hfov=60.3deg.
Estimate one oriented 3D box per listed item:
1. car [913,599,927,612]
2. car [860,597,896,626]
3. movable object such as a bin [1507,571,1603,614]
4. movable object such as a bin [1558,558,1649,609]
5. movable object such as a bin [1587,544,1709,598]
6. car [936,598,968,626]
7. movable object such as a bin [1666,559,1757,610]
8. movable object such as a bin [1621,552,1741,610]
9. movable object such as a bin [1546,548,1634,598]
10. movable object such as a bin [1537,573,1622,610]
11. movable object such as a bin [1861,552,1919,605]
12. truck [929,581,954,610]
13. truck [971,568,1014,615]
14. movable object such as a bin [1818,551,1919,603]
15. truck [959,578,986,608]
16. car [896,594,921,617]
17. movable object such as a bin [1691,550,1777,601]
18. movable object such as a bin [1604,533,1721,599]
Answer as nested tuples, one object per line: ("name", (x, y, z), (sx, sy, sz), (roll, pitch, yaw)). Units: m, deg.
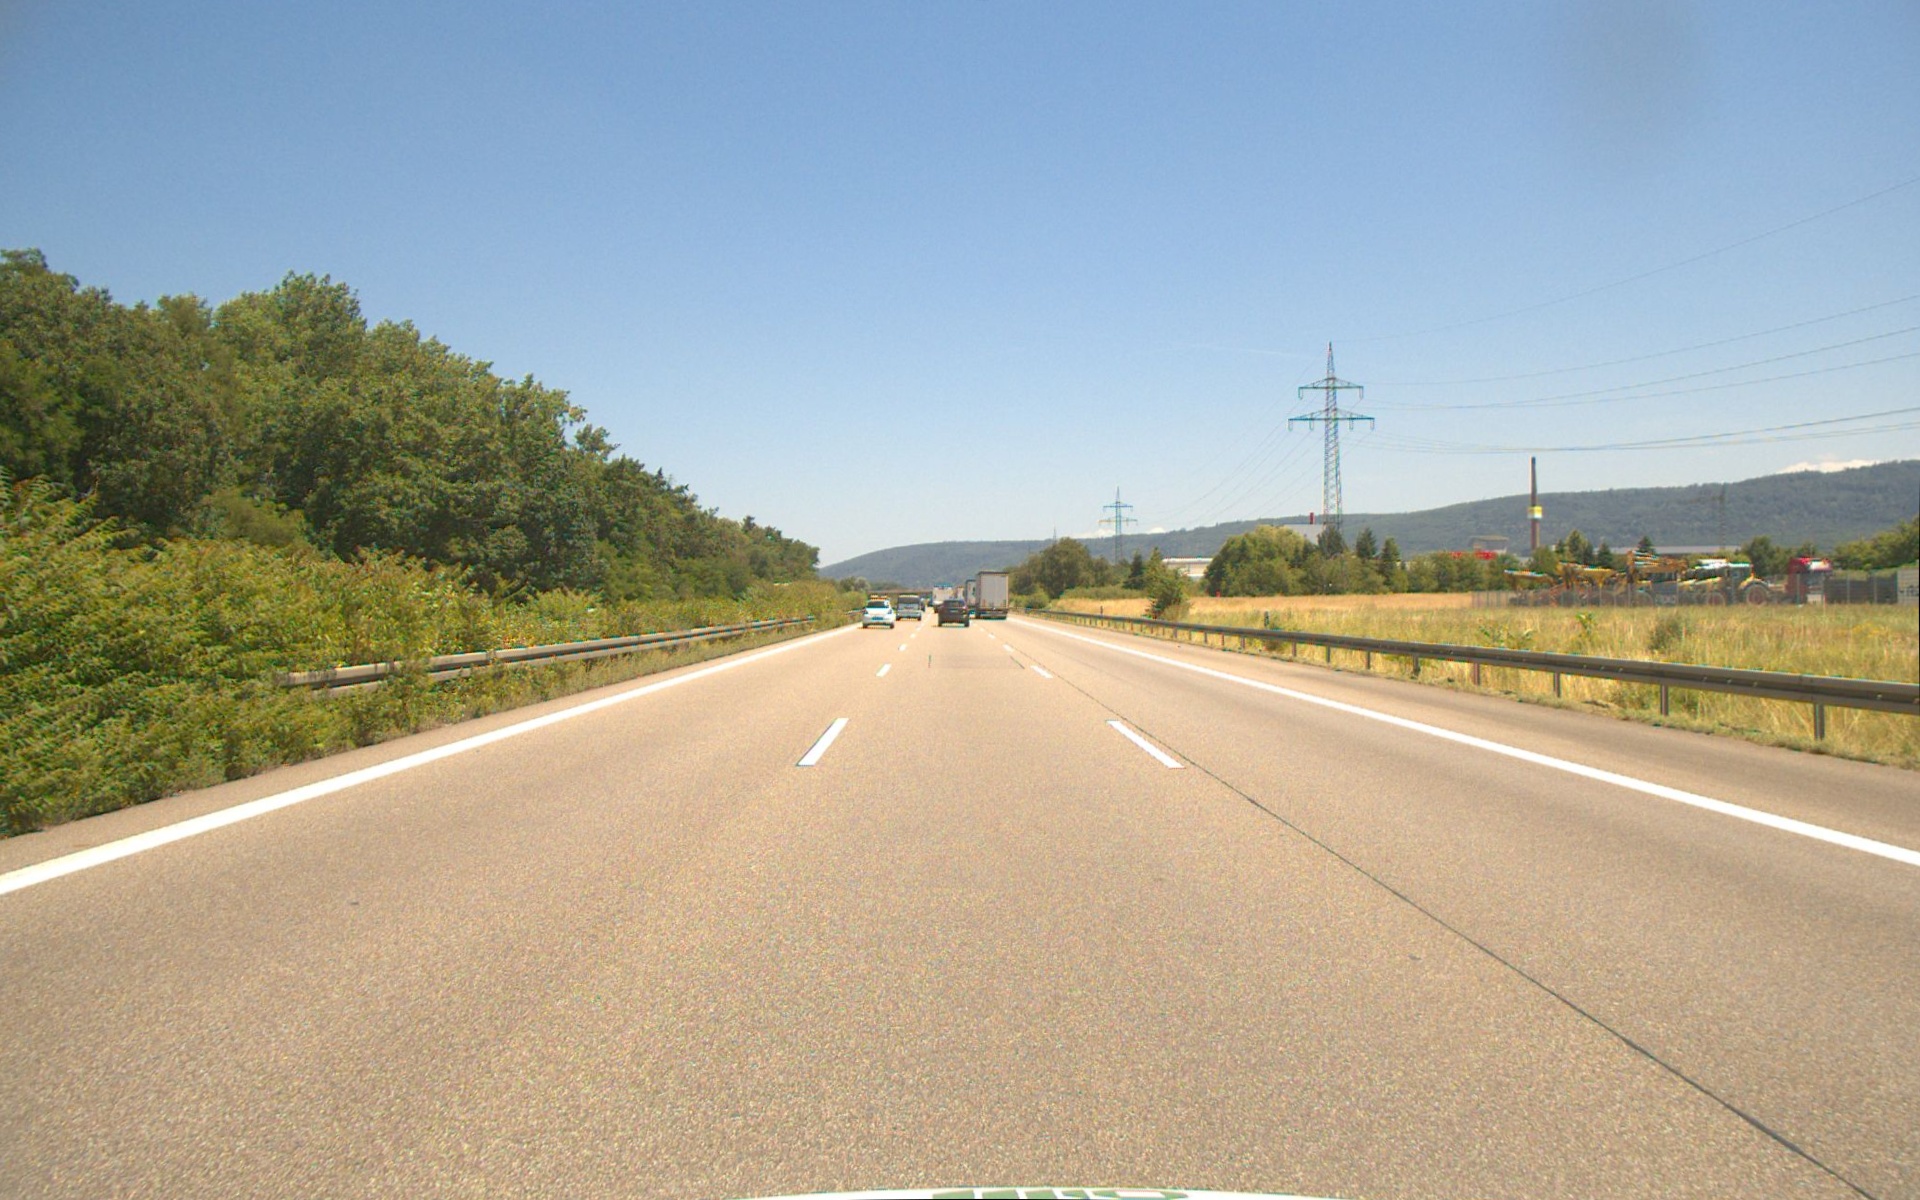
("car", (-5.616, 0.742, 231.494), (1.814, 1.661, 3.999), (1, 0, -1))
("car", (-4.411, 0.611, 89.430), (1.770, 1.494, 3.999), (1, 0, -1))
("movable object such as a bin", (51.514, -0.654, 143.225), (7.387, 3.461, 2.275), (-2, 0, 5))
("movable object such as a bin", (51.527, -1.318, 132.563), (6.213, 3.797, 2.497), (-2, 0, 5))
("movable object such as a bin", (53.321, -2.231, 128.370), (8.012, 3.797, 3.339), (-2, 0, 6))
("car", (-0.464, 0.701, 98.868), (1.846, 1.542, 3.999), (1, 0, -1))
("movable object such as a bin", (52.959, -1.114, 116.692), (5.145, 3.350, 2.790), (-2, 0, 6))
("movable object such as a bin", (52.578, -1.362, 120.770), (7.358, 3.849, 3.105), (-2, 0, 6))
("movable object such as a bin", (51.807, -2.198, 136.101), (6.213, 3.797, 2.275), (-2, 0, 5))
("movable object such as a bin", (52.216, -0.709, 139.487), (6.213, 2.930, 2.275), (-2, 0, 5))
("movable object such as a bin", (52.818, -1.264, 88.492), (7.670, 2.735, 3.177), (-2, 0, 23))
("truck", (-2.373, -0.576, 211.985), (3.034, 3.535, 11.540), (1, 0, -1))
("truck", (2.801, -0.753, 145.736), (3.199, 3.925, 11.629), (1, 0, -1))
("movable object such as a bin", (52.943, -1.354, 93.357), (7.670, 2.735, 3.177), (-2, 0, 23))
("truck", (1.509, -0.887, 205.761), (3.034, 3.535, 11.540), (1, 0, -1))
("car", (-3.910, 0.431, 125.697), (1.814, 1.661, 3.999), (1, 0, -1))
("movable object such as a bin", (52.132, -1.650, 111.483), (4.712, 3.252, 2.299), (-2, 0, 6))
("movable object such as a bin", (52.832, -2.550, 124.563), (7.358, 4.606, 3.105), (-2, 0, 6))
